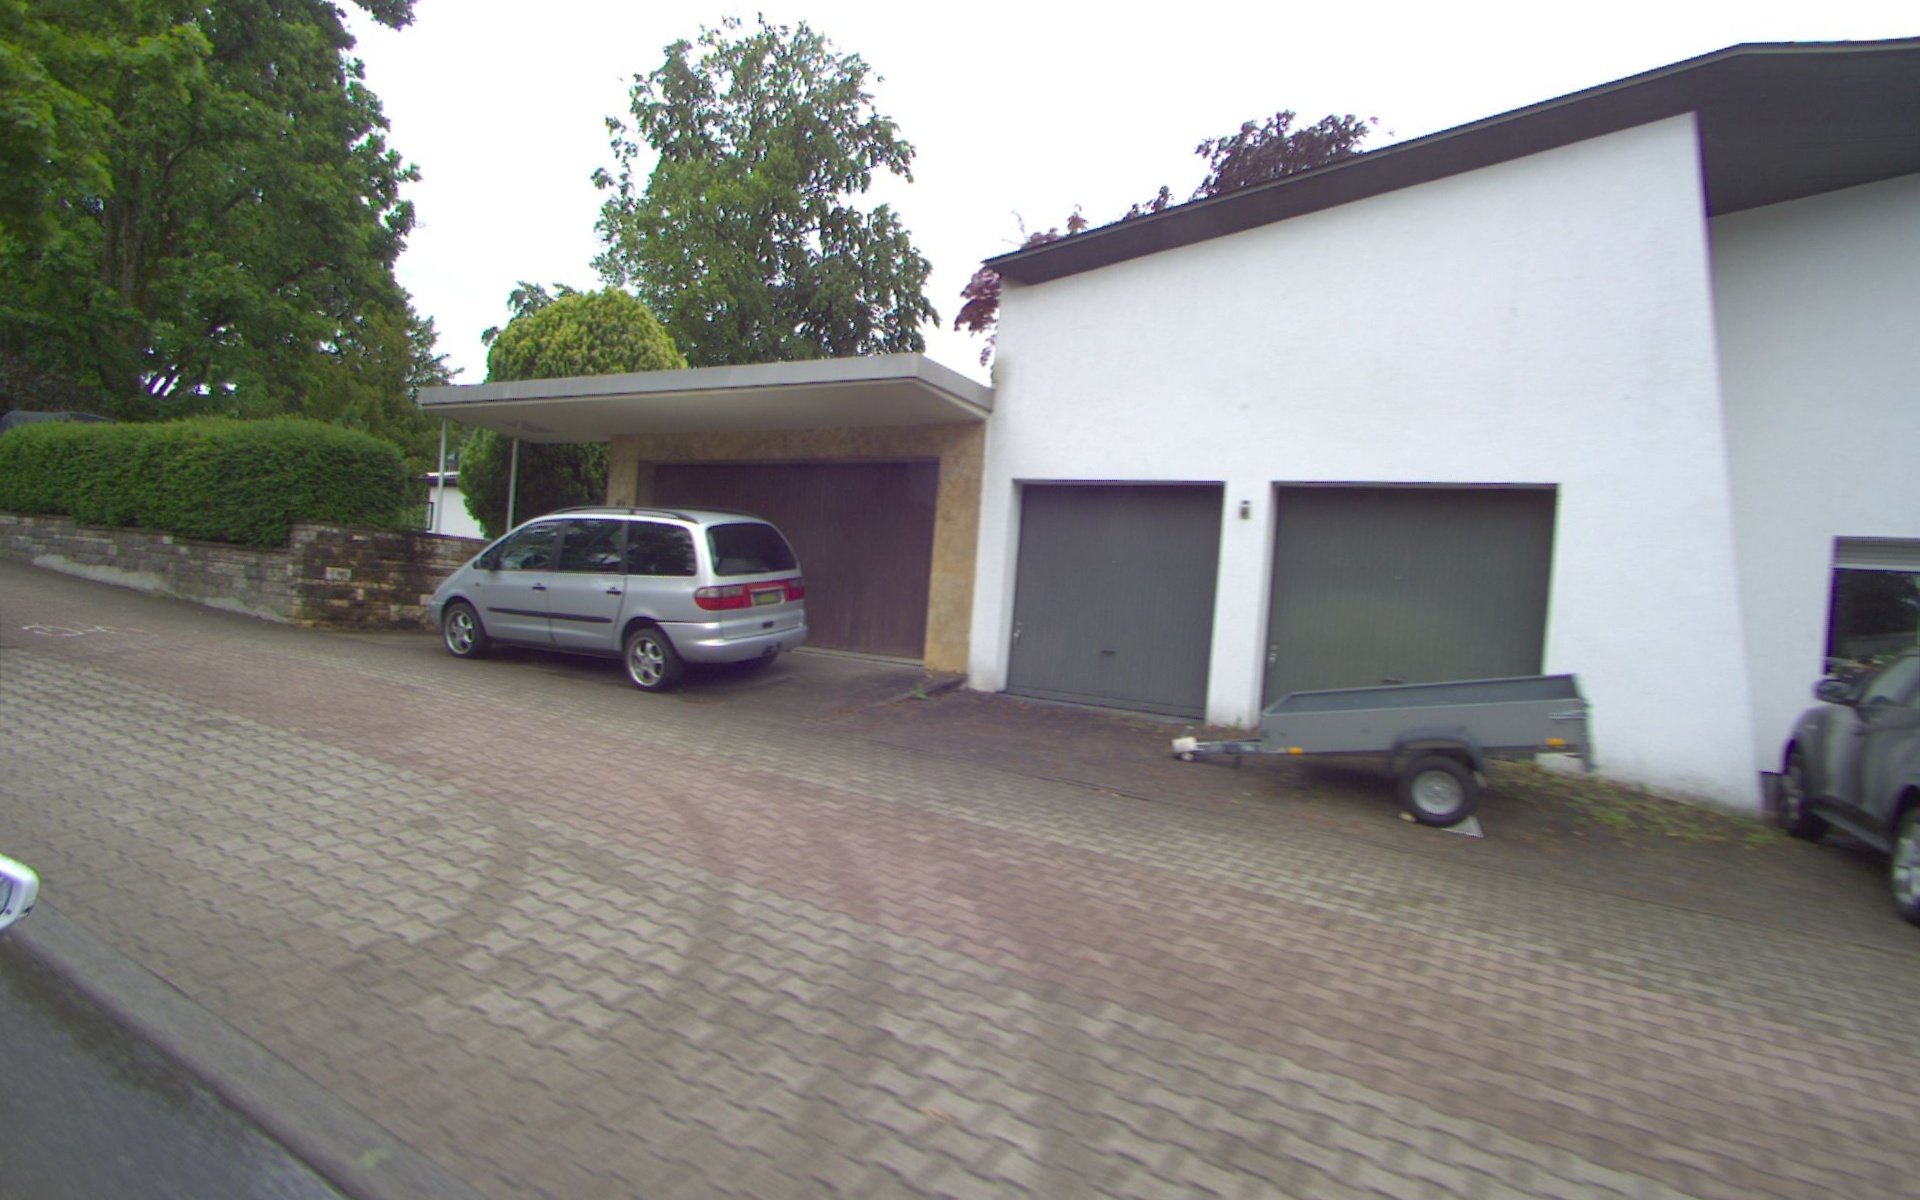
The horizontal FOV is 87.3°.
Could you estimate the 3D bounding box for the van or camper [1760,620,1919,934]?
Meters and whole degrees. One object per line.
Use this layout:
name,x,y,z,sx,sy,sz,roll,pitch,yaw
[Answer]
van or camper,6.361,0.997,5.976,1.738,1.577,3.404,6,2,27

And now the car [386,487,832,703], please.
car,-4.006,-0.123,11.228,4.858,1.779,1.797,7,1,29

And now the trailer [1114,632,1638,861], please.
trailer,2.927,0.929,7.411,3.218,0.935,1.418,5,7,28
